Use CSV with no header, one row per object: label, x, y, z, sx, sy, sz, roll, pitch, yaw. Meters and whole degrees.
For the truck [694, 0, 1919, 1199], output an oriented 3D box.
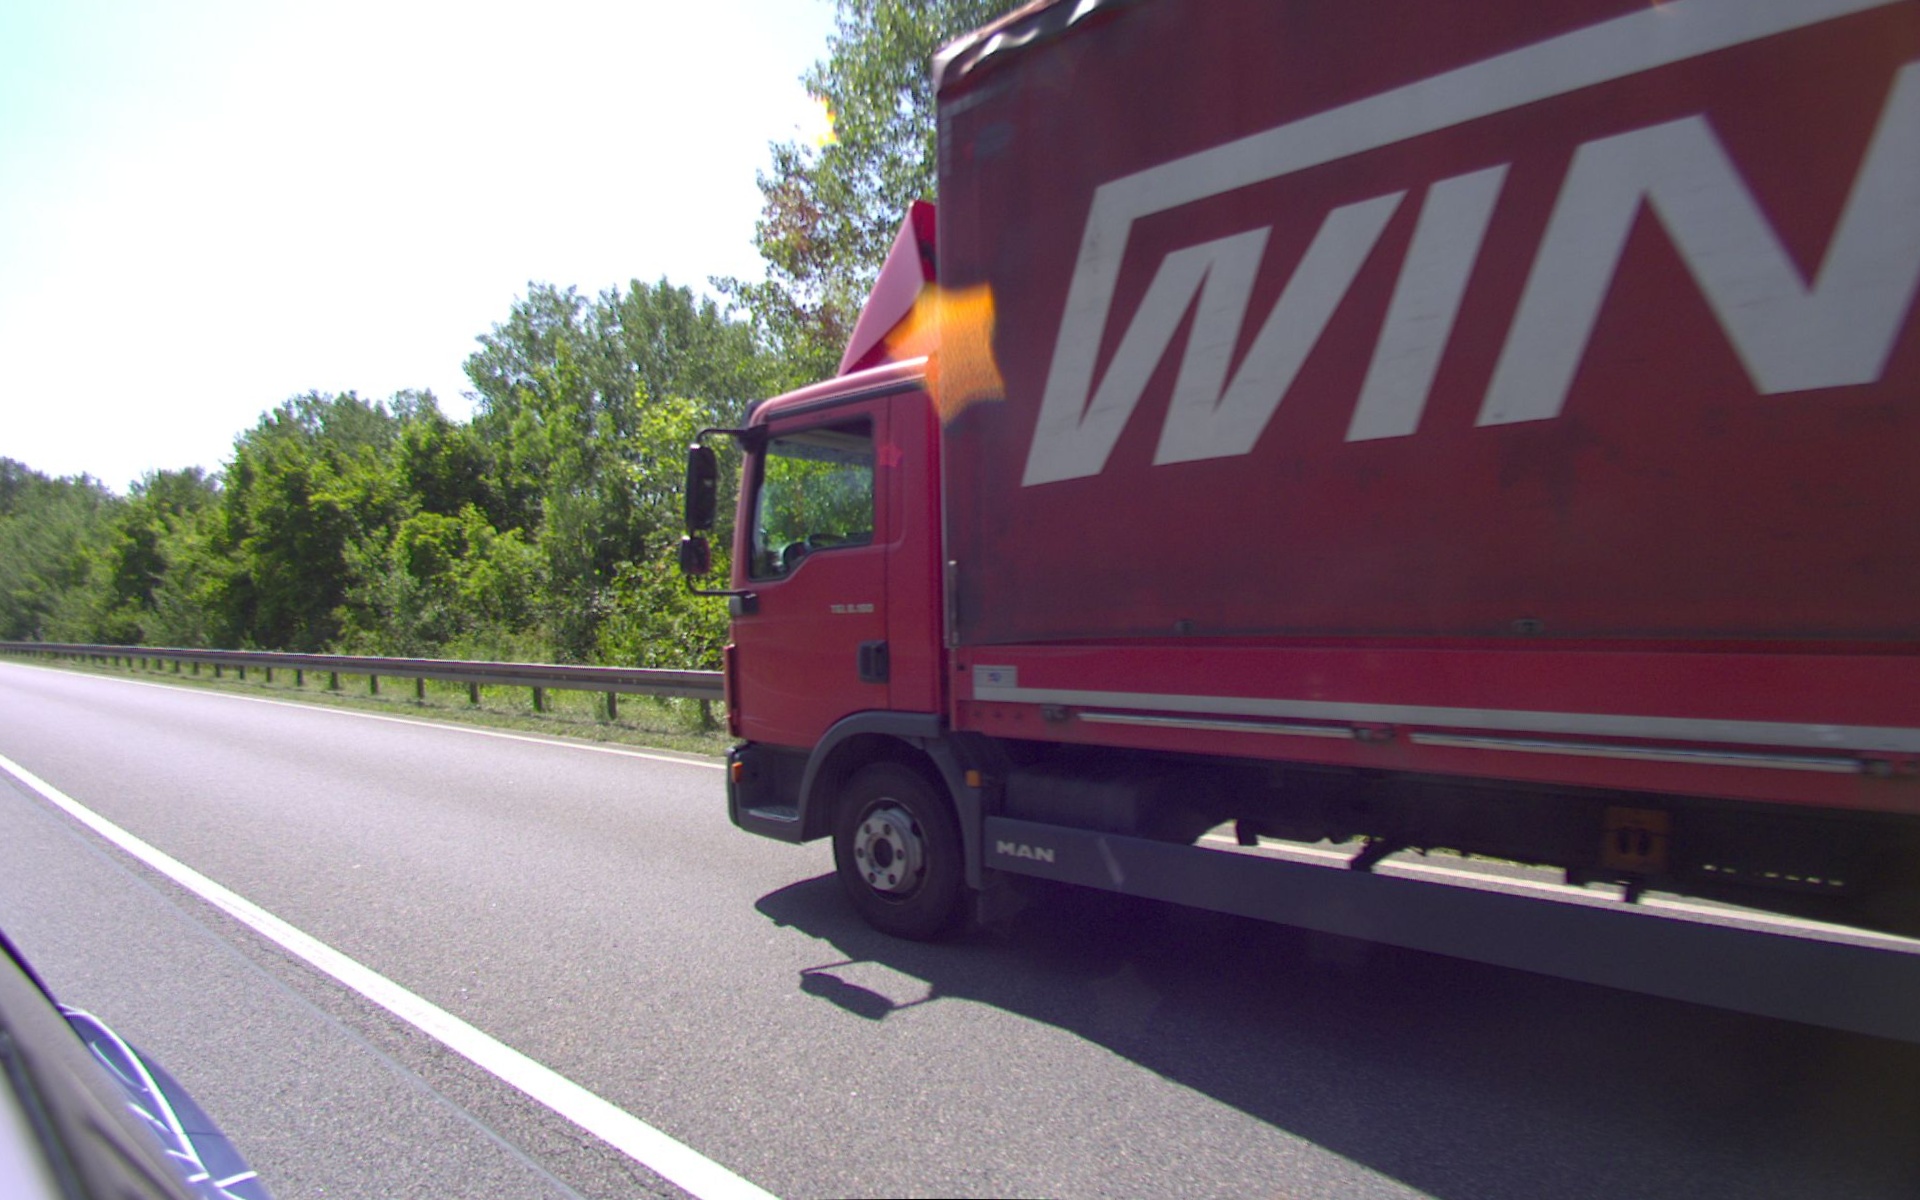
truck,3.212,-0.529,3.152,8.999,3.728,3.160,-2,0,40
